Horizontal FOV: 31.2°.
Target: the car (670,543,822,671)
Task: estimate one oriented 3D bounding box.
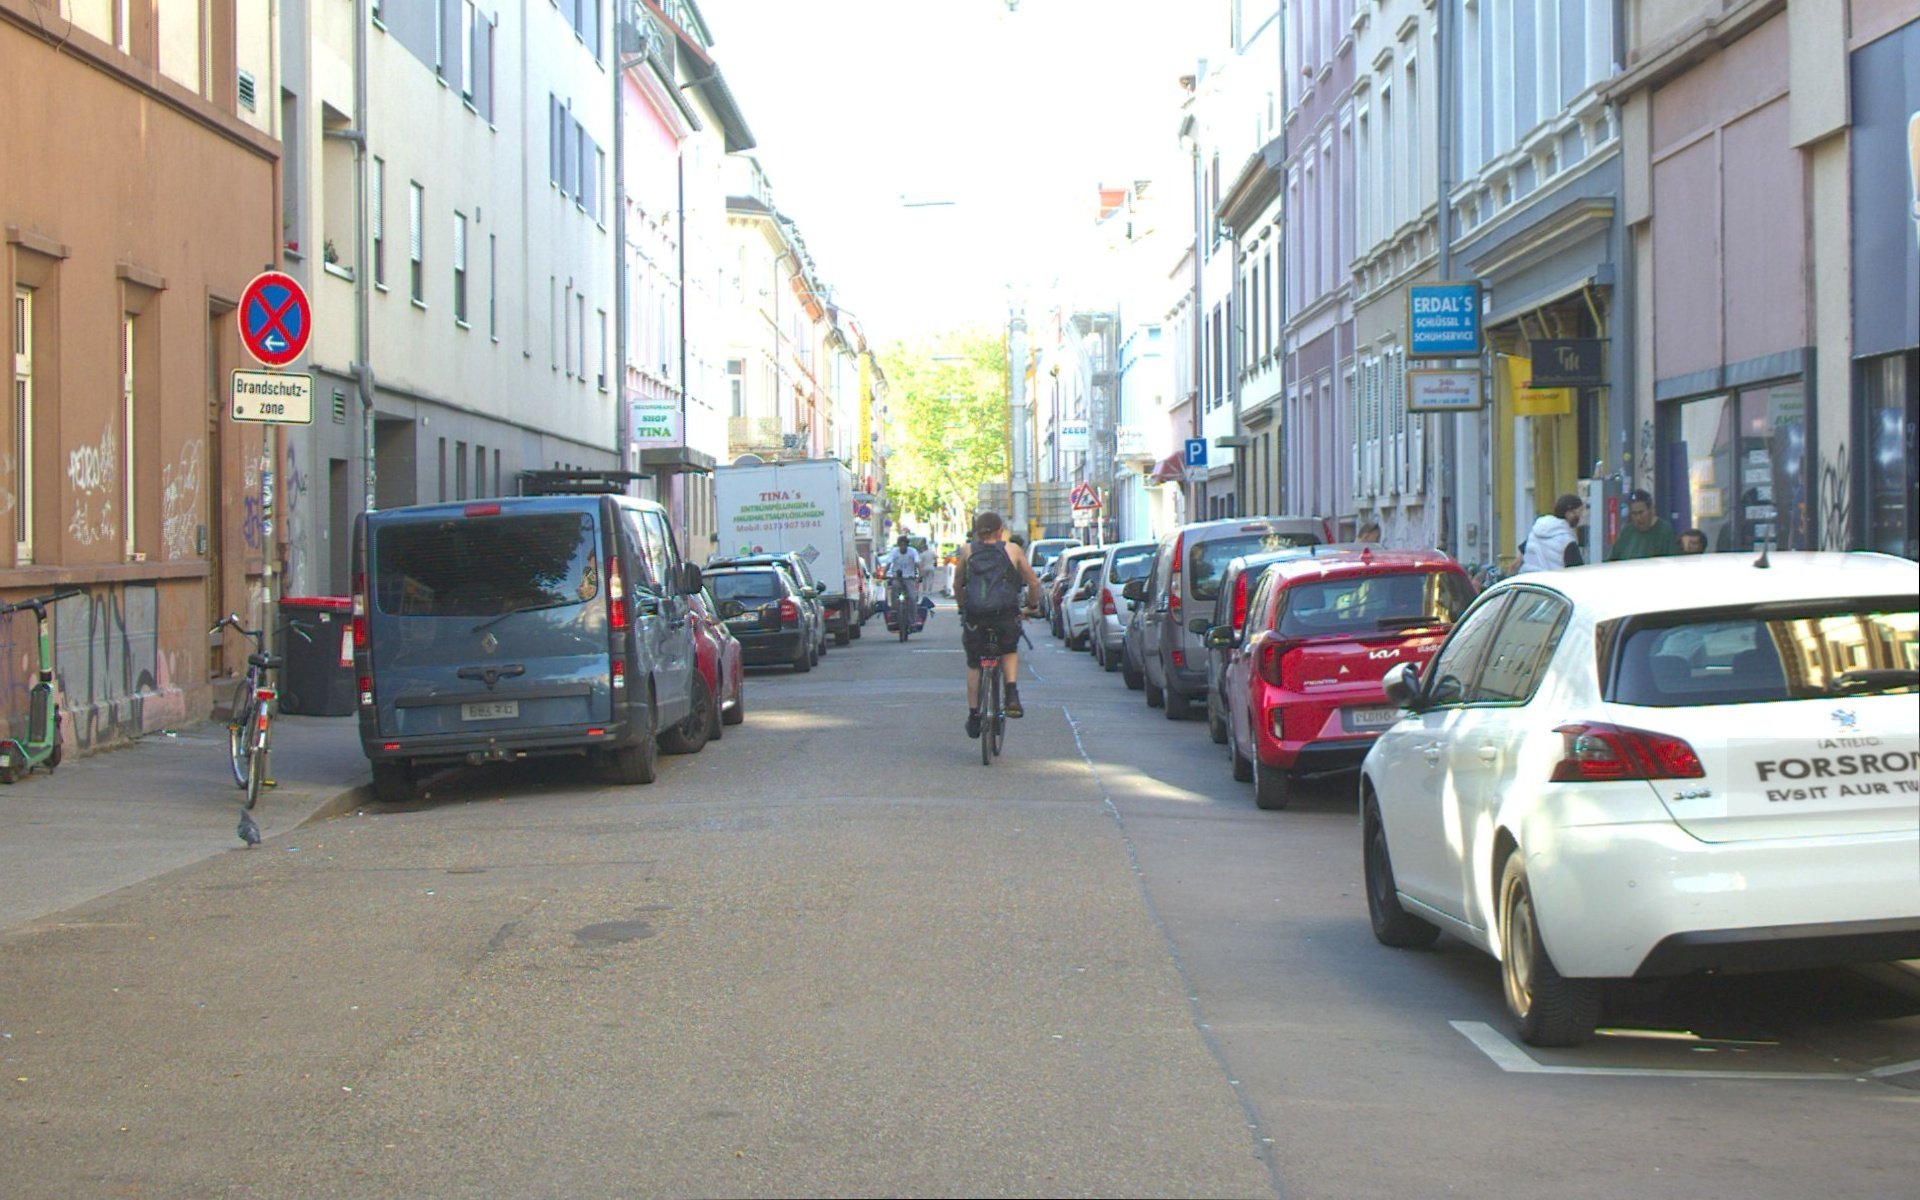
[{"bbox_3d":[-2.804,0.053,45.821,1.716,1.473,4.499,-3,2,-1],"label":"car"}]

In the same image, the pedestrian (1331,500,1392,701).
[{"bbox_3d":[3.432,0.001,29.415,0.441,1.698,0.654,0,0,0],"label":"pedestrian"}]

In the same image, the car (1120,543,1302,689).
[{"bbox_3d":[2.696,0.152,37.521,1.552,1.506,3.612,0,0,-3],"label":"car"}]

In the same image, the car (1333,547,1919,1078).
[{"bbox_3d":[2.491,0.595,11.902,1.787,1.511,4.137,0,0,-2],"label":"car"}]

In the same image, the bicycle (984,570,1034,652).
[{"bbox_3d":[0.686,0.141,48.697,0.648,1.125,2.136,0,0,0],"label":"bicycle"}]

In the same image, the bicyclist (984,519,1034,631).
[{"bbox_3d":[0.688,-0.354,48.628,0.671,1.562,0.716,0,0,-1],"label":"bicyclist"}]

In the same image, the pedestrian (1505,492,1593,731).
[{"bbox_3d":[4.311,0.083,25.192,0.561,1.734,0.428,0,0,1],"label":"pedestrian"}]

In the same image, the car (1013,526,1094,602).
[{"bbox_3d":[2.370,-0.919,88.273,1.750,1.872,3.973,-2,0,-2],"label":"car"}]

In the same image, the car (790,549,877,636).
[{"bbox_3d":[-2.789,-0.171,76.285,1.752,1.810,4.078,-3,0,-1],"label":"car"}]

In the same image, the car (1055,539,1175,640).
[{"bbox_3d":[2.506,-0.180,56.524,1.686,1.538,4.046,-3,0,-1],"label":"car"}]

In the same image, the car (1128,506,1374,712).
[{"bbox_3d":[2.657,0.061,32.263,1.899,1.787,4.315,0,0,0],"label":"car"}]

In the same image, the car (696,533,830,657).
[{"bbox_3d":[-2.910,-0.107,51.606,1.716,1.644,4.246,-3,2,-1],"label":"car"}]

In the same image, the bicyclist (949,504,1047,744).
[{"bbox_3d":[0.263,0.163,24.565,0.667,1.671,1.097,0,0,-1],"label":"bicyclist"}]

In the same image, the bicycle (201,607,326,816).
[{"bbox_3d":[-4.349,0.664,21.388,0.550,1.212,1.989,0,0,-17],"label":"bicycle"}]

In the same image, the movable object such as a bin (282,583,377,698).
[{"bbox_3d":[-5.884,0.372,32.082,0.727,1.063,0.507,0,0,-31],"label":"movable object such as a bin"}]

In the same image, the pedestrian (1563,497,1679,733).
[{"bbox_3d":[4.913,0.108,25.571,0.628,1.734,0.659,0,0,-13],"label":"pedestrian"}]

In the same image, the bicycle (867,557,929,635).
[{"bbox_3d":[-1.099,-0.091,61.640,0.977,1.310,2.555,-2,1,1],"label":"bicycle"}]

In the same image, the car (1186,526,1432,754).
[{"bbox_3d":[2.632,0.276,26.514,1.570,1.551,3.314,-4,0,2],"label":"car"}]

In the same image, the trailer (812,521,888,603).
[{"bbox_3d":[-2.912,-1.017,91.691,1.882,2.085,3.737,-2,0,0],"label":"trailer"}]

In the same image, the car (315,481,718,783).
[{"bbox_3d":[-2.964,0.143,24.135,2.020,1.873,5.297,0,1,1],"label":"car"}]

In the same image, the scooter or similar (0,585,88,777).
[{"bbox_3d":[-6.073,0.512,22.566,0.347,1.212,1.392,0,0,-1],"label":"scooter or similar"}]

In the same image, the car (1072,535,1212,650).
[{"bbox_3d":[2.628,-0.123,50.529,1.697,1.538,4.629,-3,0,-1],"label":"car"}]

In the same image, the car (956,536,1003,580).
[{"bbox_3d":[0.668,-1.480,121.991,1.611,1.555,3.610,0,0,0],"label":"car"}]

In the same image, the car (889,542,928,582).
[{"bbox_3d":[-2.396,-1.803,161.911,1.750,1.815,3.796,-2,0,0],"label":"car"}]

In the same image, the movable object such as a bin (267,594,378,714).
[{"bbox_3d":[-5.782,0.480,31.197,0.760,1.063,0.651,1,0,20],"label":"movable object such as a bin"}]

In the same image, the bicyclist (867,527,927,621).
[{"bbox_3d":[-1.124,-0.468,61.395,0.950,1.622,0.953,-3,1,1],"label":"bicyclist"}]

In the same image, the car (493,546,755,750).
[{"bbox_3d":[-2.788,0.371,29.267,1.750,1.517,3.869,-4,0,0],"label":"car"}]

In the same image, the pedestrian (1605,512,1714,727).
[{"bbox_3d":[5.037,0.139,24.783,0.587,1.524,0.659,0,0,-5],"label":"pedestrian"}]

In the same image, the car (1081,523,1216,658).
[{"bbox_3d":[2.474,-0.135,45.760,1.556,1.706,3.559,0,0,-1],"label":"car"}]

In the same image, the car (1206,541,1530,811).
[{"bbox_3d":[2.508,0.430,21.836,1.606,1.567,3.554,0,0,0],"label":"car"}]

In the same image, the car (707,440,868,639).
[{"bbox_3d":[-3.039,-1.064,62.148,2.343,3.280,7.154,-3,0,1],"label":"car"}]

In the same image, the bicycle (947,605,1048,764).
[{"bbox_3d":[0.256,0.582,24.590,0.677,1.071,1.942,0,0,-1],"label":"bicycle"}]

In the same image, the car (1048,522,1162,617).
[{"bbox_3d":[2.680,-0.585,64.370,1.918,1.700,4.366,-1,1,0],"label":"car"}]
